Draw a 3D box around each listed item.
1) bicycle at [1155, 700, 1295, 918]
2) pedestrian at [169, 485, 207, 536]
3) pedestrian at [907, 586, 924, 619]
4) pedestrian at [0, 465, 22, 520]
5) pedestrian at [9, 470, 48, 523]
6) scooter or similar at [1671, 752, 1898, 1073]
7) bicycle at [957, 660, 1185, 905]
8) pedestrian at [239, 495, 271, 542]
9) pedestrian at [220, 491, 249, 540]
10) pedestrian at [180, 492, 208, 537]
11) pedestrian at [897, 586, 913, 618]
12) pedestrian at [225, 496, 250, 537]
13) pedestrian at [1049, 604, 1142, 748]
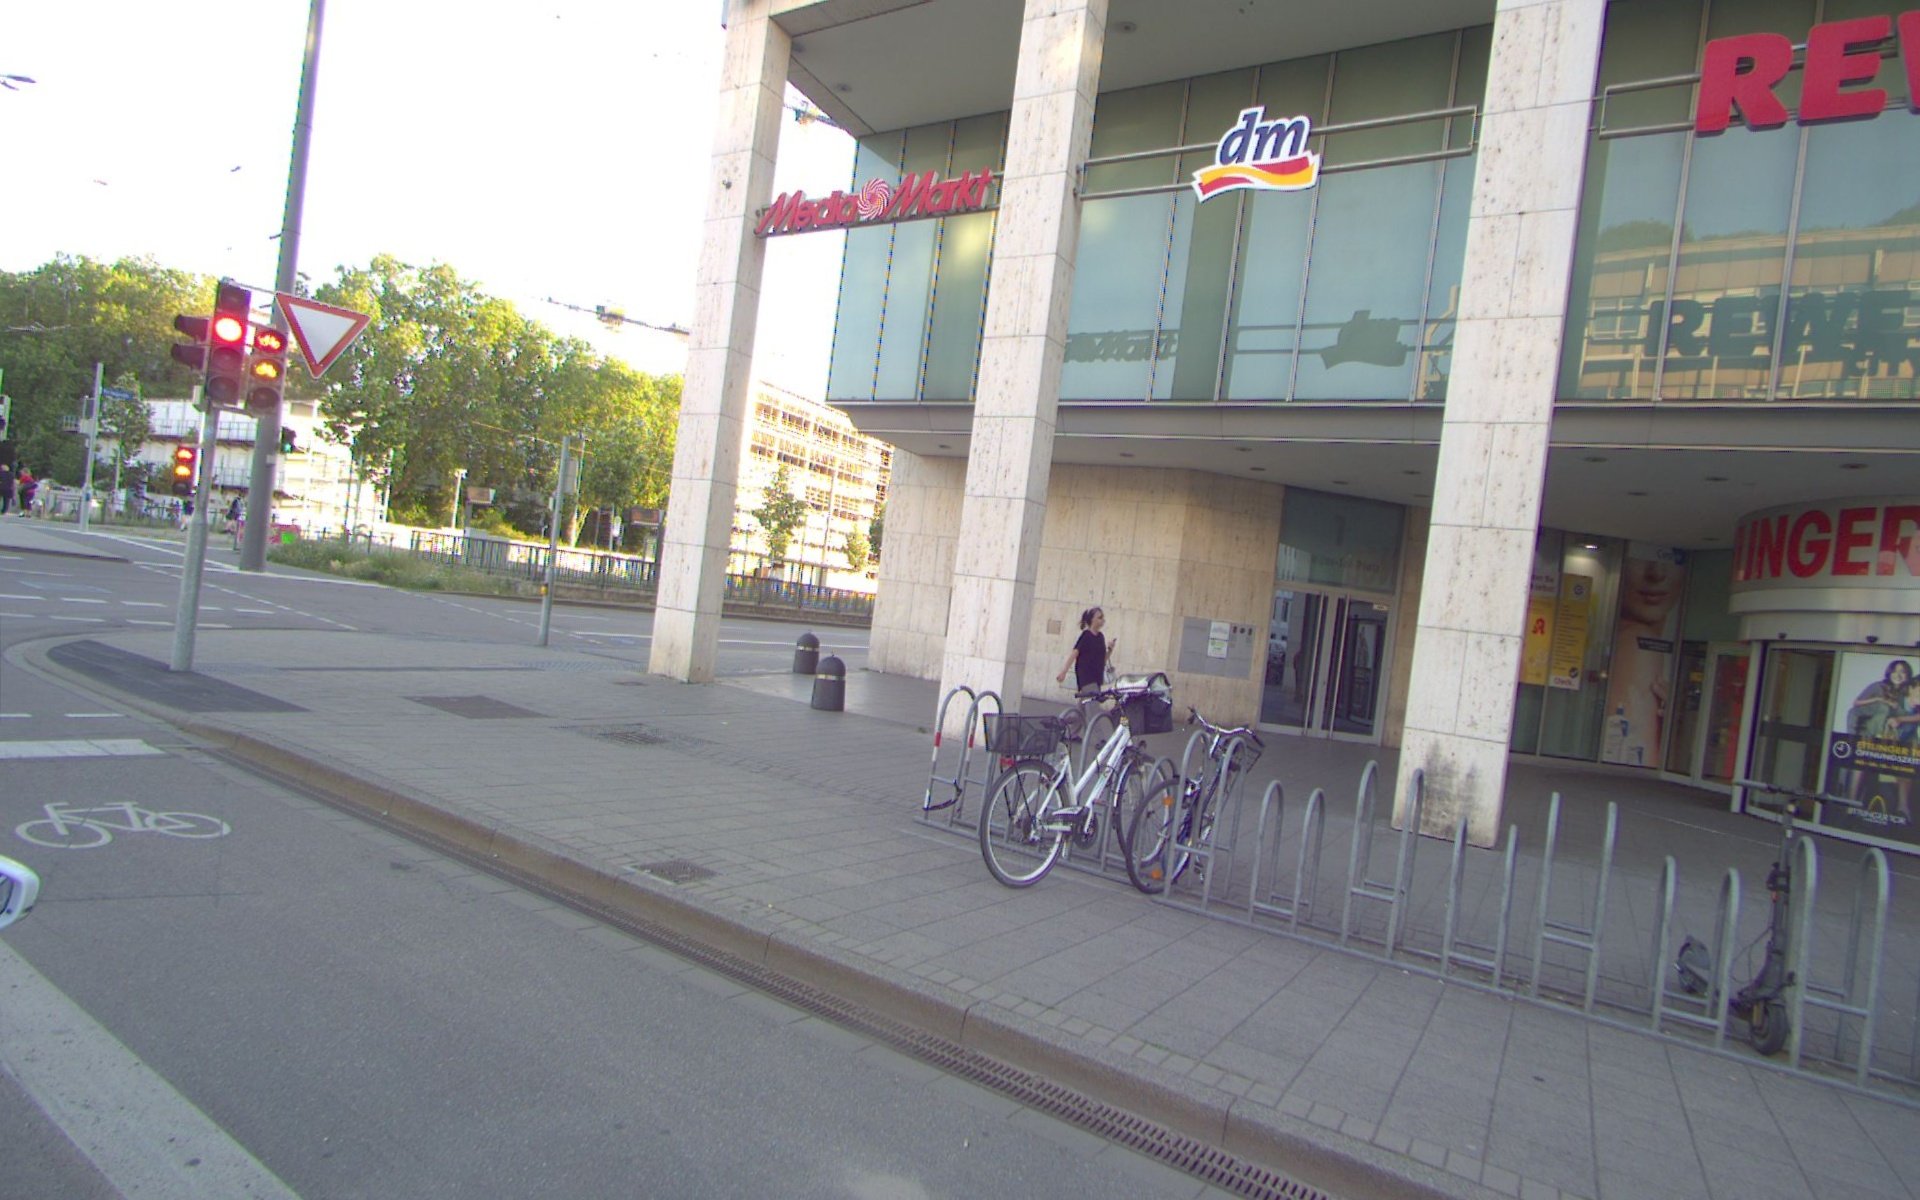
[{"bbox_3d":[1.767,1.255,6.521,0.474,1.092,1.773,8,0,24],"label":"bicycle"},{"bbox_3d":[-28.506,-3.309,37.150,0.700,1.746,0.668,7,1,-4],"label":"pedestrian"},{"bbox_3d":[-2.906,0.193,65.182,0.631,2.039,0.626,8,1,28],"label":"pedestrian"},{"bbox_3d":[-33.264,-3.756,34.961,0.803,1.814,0.790,7,1,-44],"label":"pedestrian"},{"bbox_3d":[-33.082,-3.673,35.721,0.696,1.756,0.843,8,1,44],"label":"pedestrian"},{"bbox_3d":[3.987,1.438,4.956,0.484,1.214,1.196,8,1,27],"label":"scooter or similar"},{"bbox_3d":[0.700,1.007,5.925,0.540,1.198,1.479,8,1,36],"label":"bicycle"},{"bbox_3d":[-28.582,-3.297,40.769,0.657,1.746,0.711,8,1,31],"label":"pedestrian"},{"bbox_3d":[-27.760,-3.236,38.510,0.708,1.746,0.660,7,1,-41],"label":"pedestrian"},{"bbox_3d":[-29.342,-3.277,38.511,0.527,1.612,0.571,8,1,32],"label":"pedestrian"},{"bbox_3d":[-3.563,0.138,65.456,0.559,2.039,0.575,8,1,29],"label":"pedestrian"},{"bbox_3d":[-28.190,-3.255,39.239,0.672,1.459,0.707,6,1,-36],"label":"pedestrian"},{"bbox_3d":[1.693,0.943,12.535,0.696,1.659,0.791,8,1,33],"label":"pedestrian"}]
